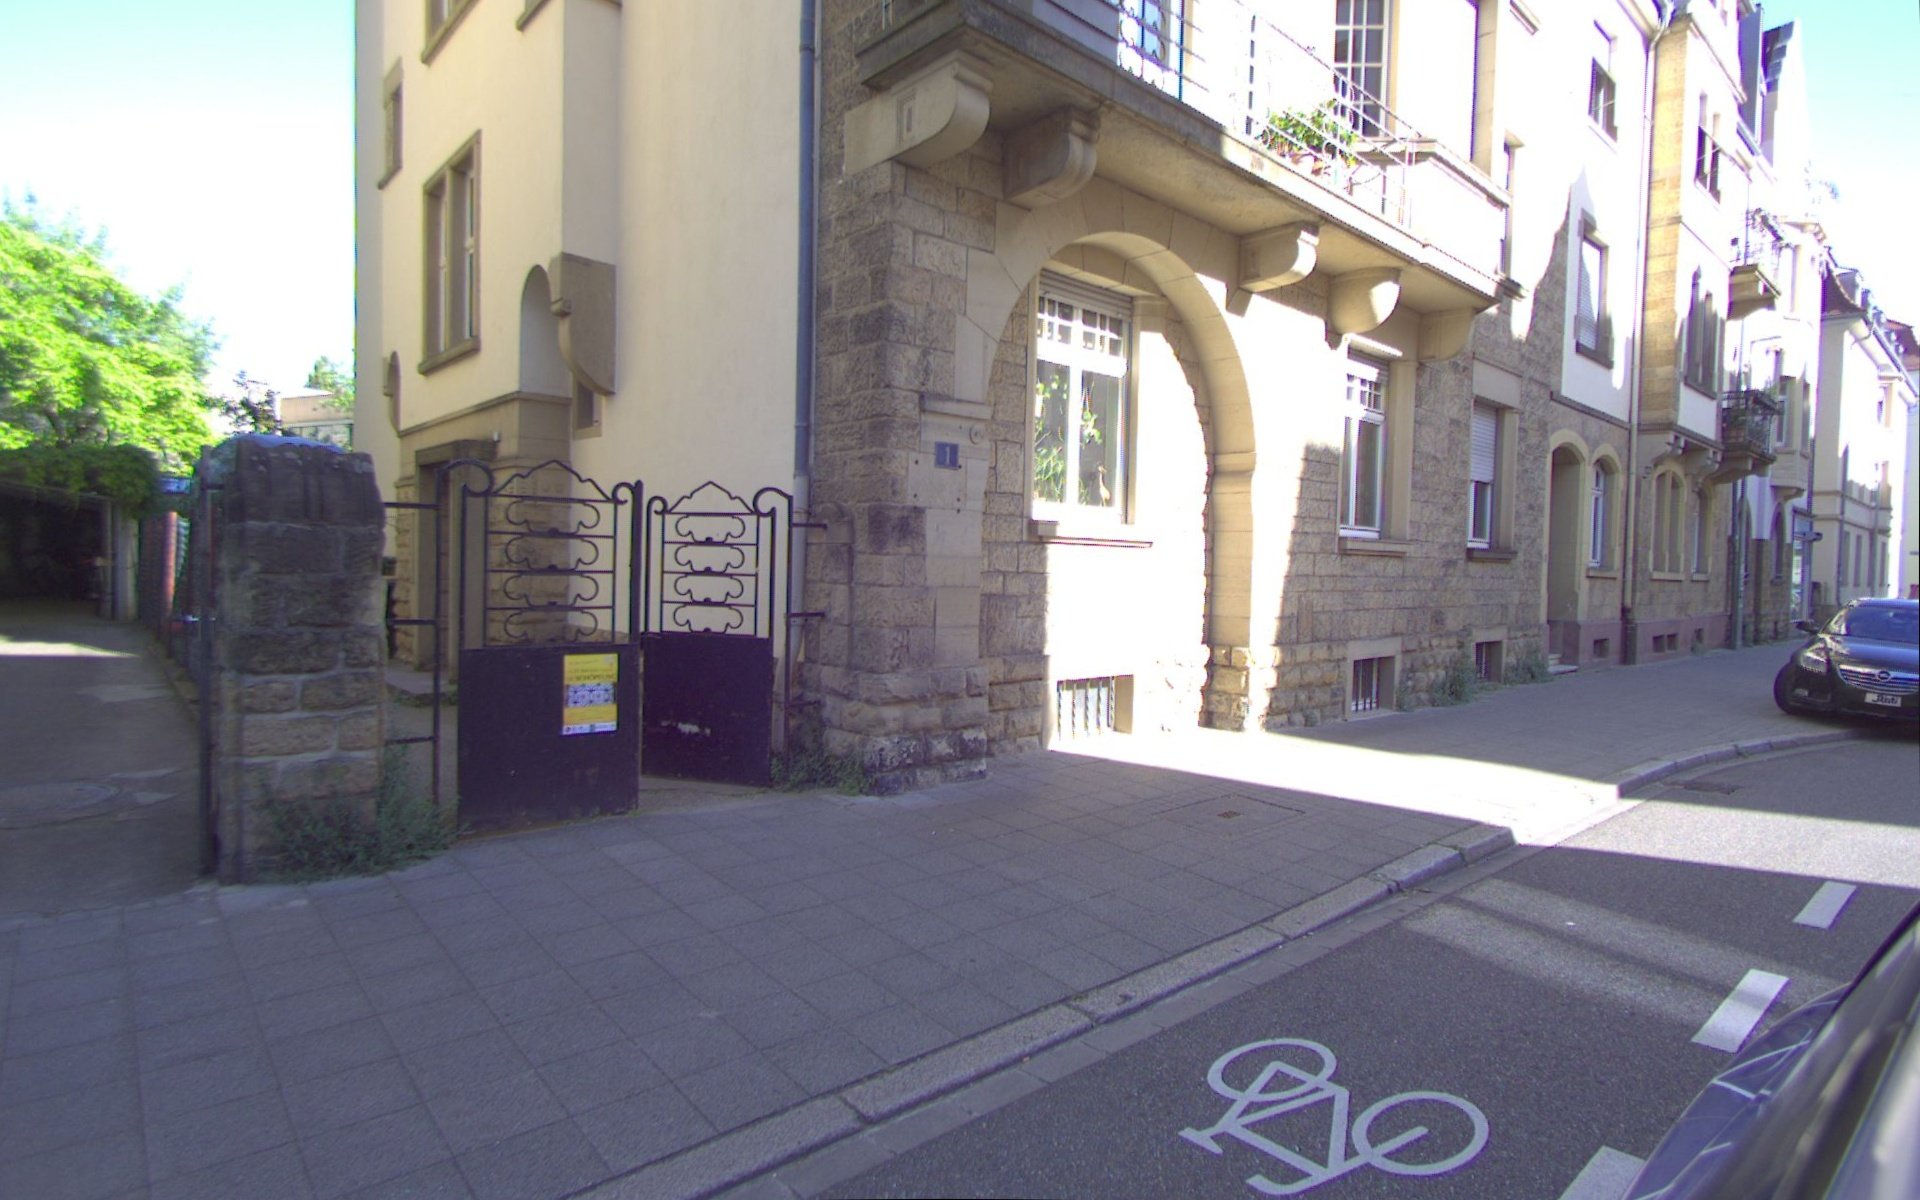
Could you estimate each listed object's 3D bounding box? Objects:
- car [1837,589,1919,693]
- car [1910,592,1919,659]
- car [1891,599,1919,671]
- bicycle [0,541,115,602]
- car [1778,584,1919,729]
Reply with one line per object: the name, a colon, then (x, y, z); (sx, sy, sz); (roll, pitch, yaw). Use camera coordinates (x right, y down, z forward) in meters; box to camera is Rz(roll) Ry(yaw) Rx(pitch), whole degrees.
car: (15.370, 0.605, 16.106); (4.186, 1.460, 1.654); (0, 3, -43)
car: (22.452, 0.574, 22.517); (1.787, 1.447, 3.746); (3, 2, 44)
car: (18.944, 0.643, 19.162); (3.875, 1.270, 1.694); (0, 1, -44)
bicycle: (-18.365, -0.602, 20.454); (2.834, 1.124, 0.865); (3, 2, 25)
car: (11.503, 0.594, 12.225); (4.265, 1.480, 1.869); (0, 3, -42)
